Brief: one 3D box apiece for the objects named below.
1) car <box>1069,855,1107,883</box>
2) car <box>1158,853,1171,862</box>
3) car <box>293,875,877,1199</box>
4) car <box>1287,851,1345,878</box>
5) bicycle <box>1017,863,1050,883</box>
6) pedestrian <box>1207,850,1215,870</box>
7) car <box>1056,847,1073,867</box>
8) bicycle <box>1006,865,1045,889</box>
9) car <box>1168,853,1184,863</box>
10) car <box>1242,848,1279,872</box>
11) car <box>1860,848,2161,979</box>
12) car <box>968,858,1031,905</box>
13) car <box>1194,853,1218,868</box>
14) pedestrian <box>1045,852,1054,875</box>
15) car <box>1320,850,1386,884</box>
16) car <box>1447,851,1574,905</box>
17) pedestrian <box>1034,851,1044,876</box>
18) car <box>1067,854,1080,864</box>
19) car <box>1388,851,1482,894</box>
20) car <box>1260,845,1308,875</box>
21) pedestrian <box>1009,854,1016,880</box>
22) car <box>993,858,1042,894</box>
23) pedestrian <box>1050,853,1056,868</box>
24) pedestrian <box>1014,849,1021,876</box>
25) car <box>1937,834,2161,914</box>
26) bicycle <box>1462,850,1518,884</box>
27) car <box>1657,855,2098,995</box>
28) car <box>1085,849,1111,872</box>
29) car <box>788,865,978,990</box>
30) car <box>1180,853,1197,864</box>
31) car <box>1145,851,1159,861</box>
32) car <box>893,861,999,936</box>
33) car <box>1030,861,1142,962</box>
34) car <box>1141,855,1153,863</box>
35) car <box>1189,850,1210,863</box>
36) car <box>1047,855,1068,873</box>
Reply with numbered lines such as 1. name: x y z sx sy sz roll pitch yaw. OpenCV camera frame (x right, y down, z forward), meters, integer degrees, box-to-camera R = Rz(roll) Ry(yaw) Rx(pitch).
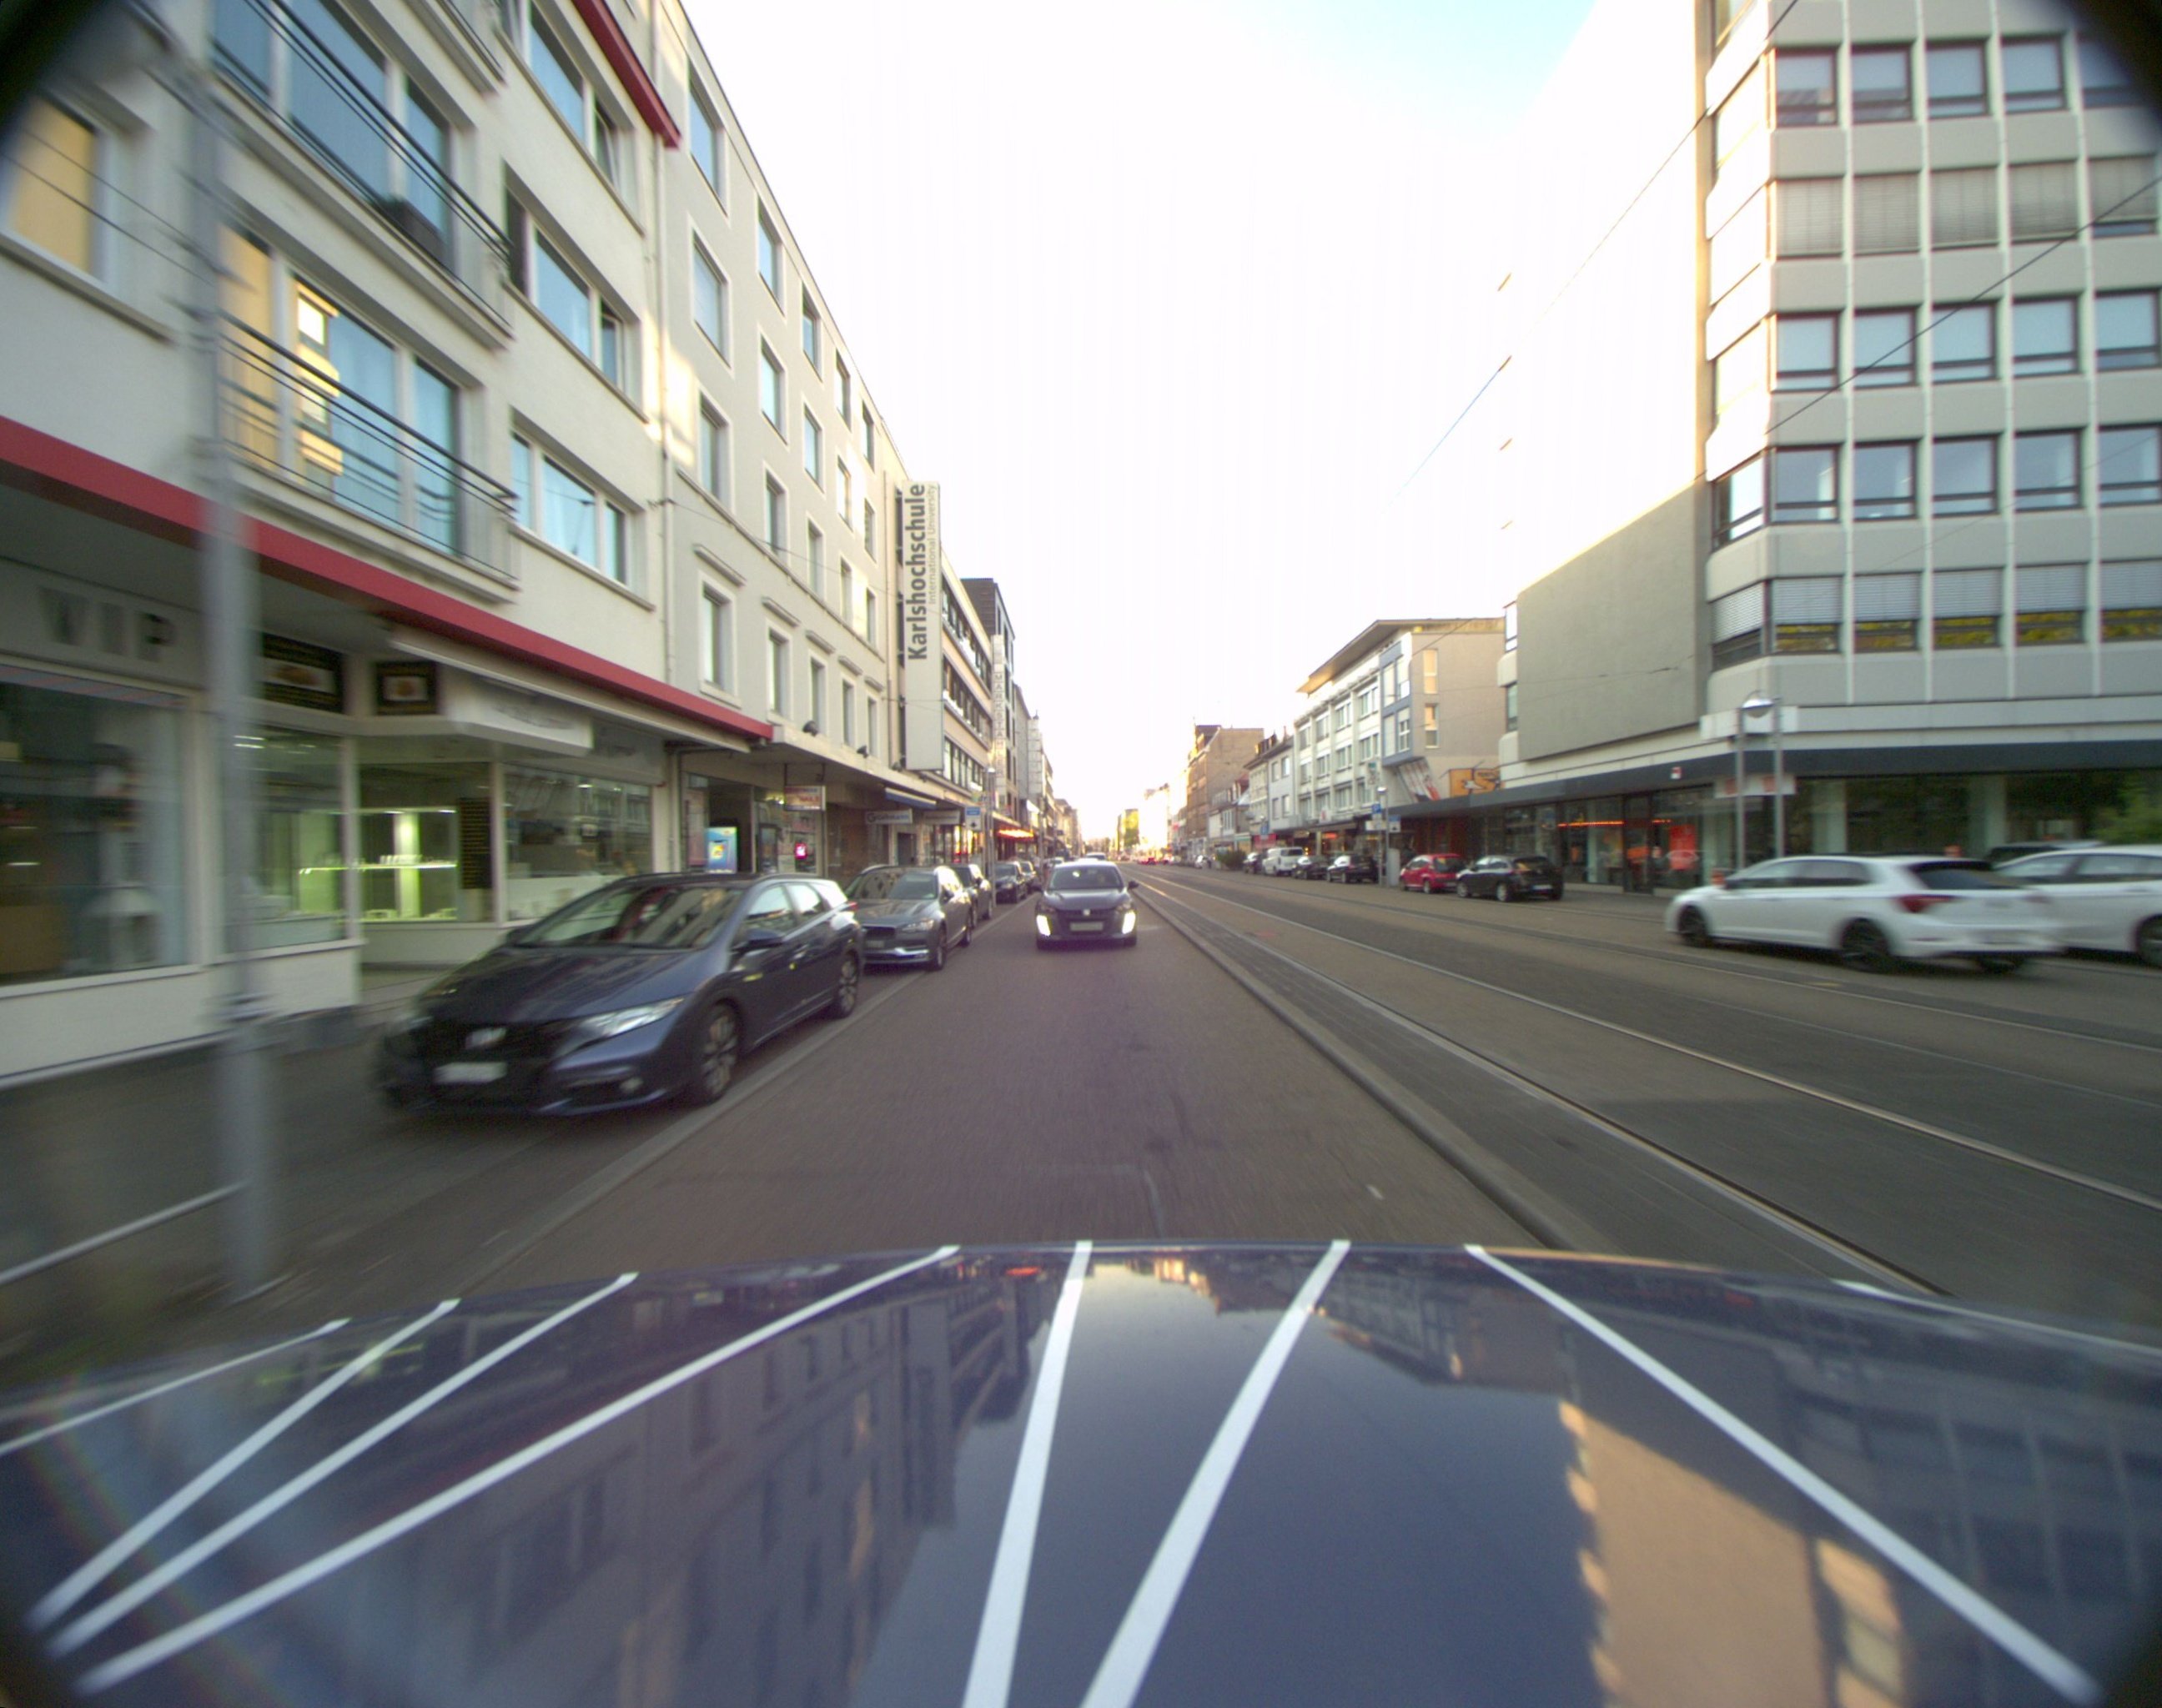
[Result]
1. car: 0.380 0.798 42.287 1.998 1.450 4.000 -1 0 0
2. car: 15.482 0.620 141.451 1.998 1.543 4.000 -1 0 1
3. car: -3.108 0.992 6.022 1.739 1.503 4.303 0 0 1
4. car: 13.956 0.596 45.411 1.998 1.457 4.558 -2 0 0
5. bicycle: -2.722 1.091 43.863 1.890 1.071 0.676 1 0 -2
6. pedestrian: 13.644 0.635 79.739 0.823 2.002 0.713 0 1 16
7. car: -2.025 0.394 95.309 2.046 2.371 5.584 -1 0 0
8. bicycle: -2.770 1.146 37.995 1.890 1.131 0.676 -1 0 -2
9. car: 14.999 0.574 119.762 1.998 1.543 4.206 -1 0 1
10. car: 14.219 0.448 60.434 1.862 1.711 4.527 -3 0 0
11. car: 13.473 0.684 10.099 1.816 1.503 4.433 -1 0 3
12. car: -2.868 0.930 27.455 1.724 1.503 4.167 0 0 1
13. car: 14.382 0.722 87.591 1.998 1.535 4.878 -2 0 1
14. pedestrian: -2.295 0.686 55.209 0.605 1.717 0.646 -1 1 1
15. car: 13.766 0.629 38.713 1.690 1.503 4.446 -4 0 1
16. car: 13.499 0.695 24.192 1.690 1.503 4.215 -2 0 1
17. pedestrian: -3.037 0.671 54.851 0.610 1.743 0.605 -1 1 1
18. car: -1.212 0.753 124.321 1.999 1.627 5.243 -1 0 0
19. car: 13.561 0.662 29.391 1.690 1.503 4.215 -3 0 1
20. car: 14.070 0.391 52.932 1.960 1.965 5.162 -1 0 0
21. pedestrian: -5.043 0.960 56.225 0.452 1.888 0.421 -1 1 1
22. car: -2.792 0.934 34.362 1.748 1.503 4.258 0 0 1
23. pedestrian: -3.213 0.705 87.648 0.610 1.743 0.605 -1 1 1
24. pedestrian: -4.568 0.616 54.919 0.456 1.888 0.421 -1 1 1
25. car: 19.811 0.354 14.840 3.996 1.458 1.846 -1 0 3
26. bicycle: 17.620 0.569 32.764 1.973 1.417 0.834 -1 1 -1
27. car: 10.235 0.785 10.325 1.810 1.503 4.035 0 0 1
28. car: 1.327 0.485 61.925 1.999 1.805 3.999 -1 0 0
29. car: -2.829 0.964 11.985 1.794 1.503 4.711 0 0 0
30. car: 15.267 0.577 108.151 1.998 1.543 4.000 -1 0 1
31. car: 11.759 0.377 126.139 1.998 1.543 4.000 1 1 1
32. car: -3.059 0.955 18.015 1.690 1.503 4.035 0 0 1
33. car: 0.066 0.935 14.237 1.732 1.513 4.333 -2 0 0
34. car: 12.332 0.922 142.308 1.998 1.543 4.000 -1 0 1
35. car: 14.462 0.349 92.914 1.913 1.535 4.552 -1 0 1
36. car: -2.069 0.882 67.510 1.682 1.534 3.886 0 0 2
